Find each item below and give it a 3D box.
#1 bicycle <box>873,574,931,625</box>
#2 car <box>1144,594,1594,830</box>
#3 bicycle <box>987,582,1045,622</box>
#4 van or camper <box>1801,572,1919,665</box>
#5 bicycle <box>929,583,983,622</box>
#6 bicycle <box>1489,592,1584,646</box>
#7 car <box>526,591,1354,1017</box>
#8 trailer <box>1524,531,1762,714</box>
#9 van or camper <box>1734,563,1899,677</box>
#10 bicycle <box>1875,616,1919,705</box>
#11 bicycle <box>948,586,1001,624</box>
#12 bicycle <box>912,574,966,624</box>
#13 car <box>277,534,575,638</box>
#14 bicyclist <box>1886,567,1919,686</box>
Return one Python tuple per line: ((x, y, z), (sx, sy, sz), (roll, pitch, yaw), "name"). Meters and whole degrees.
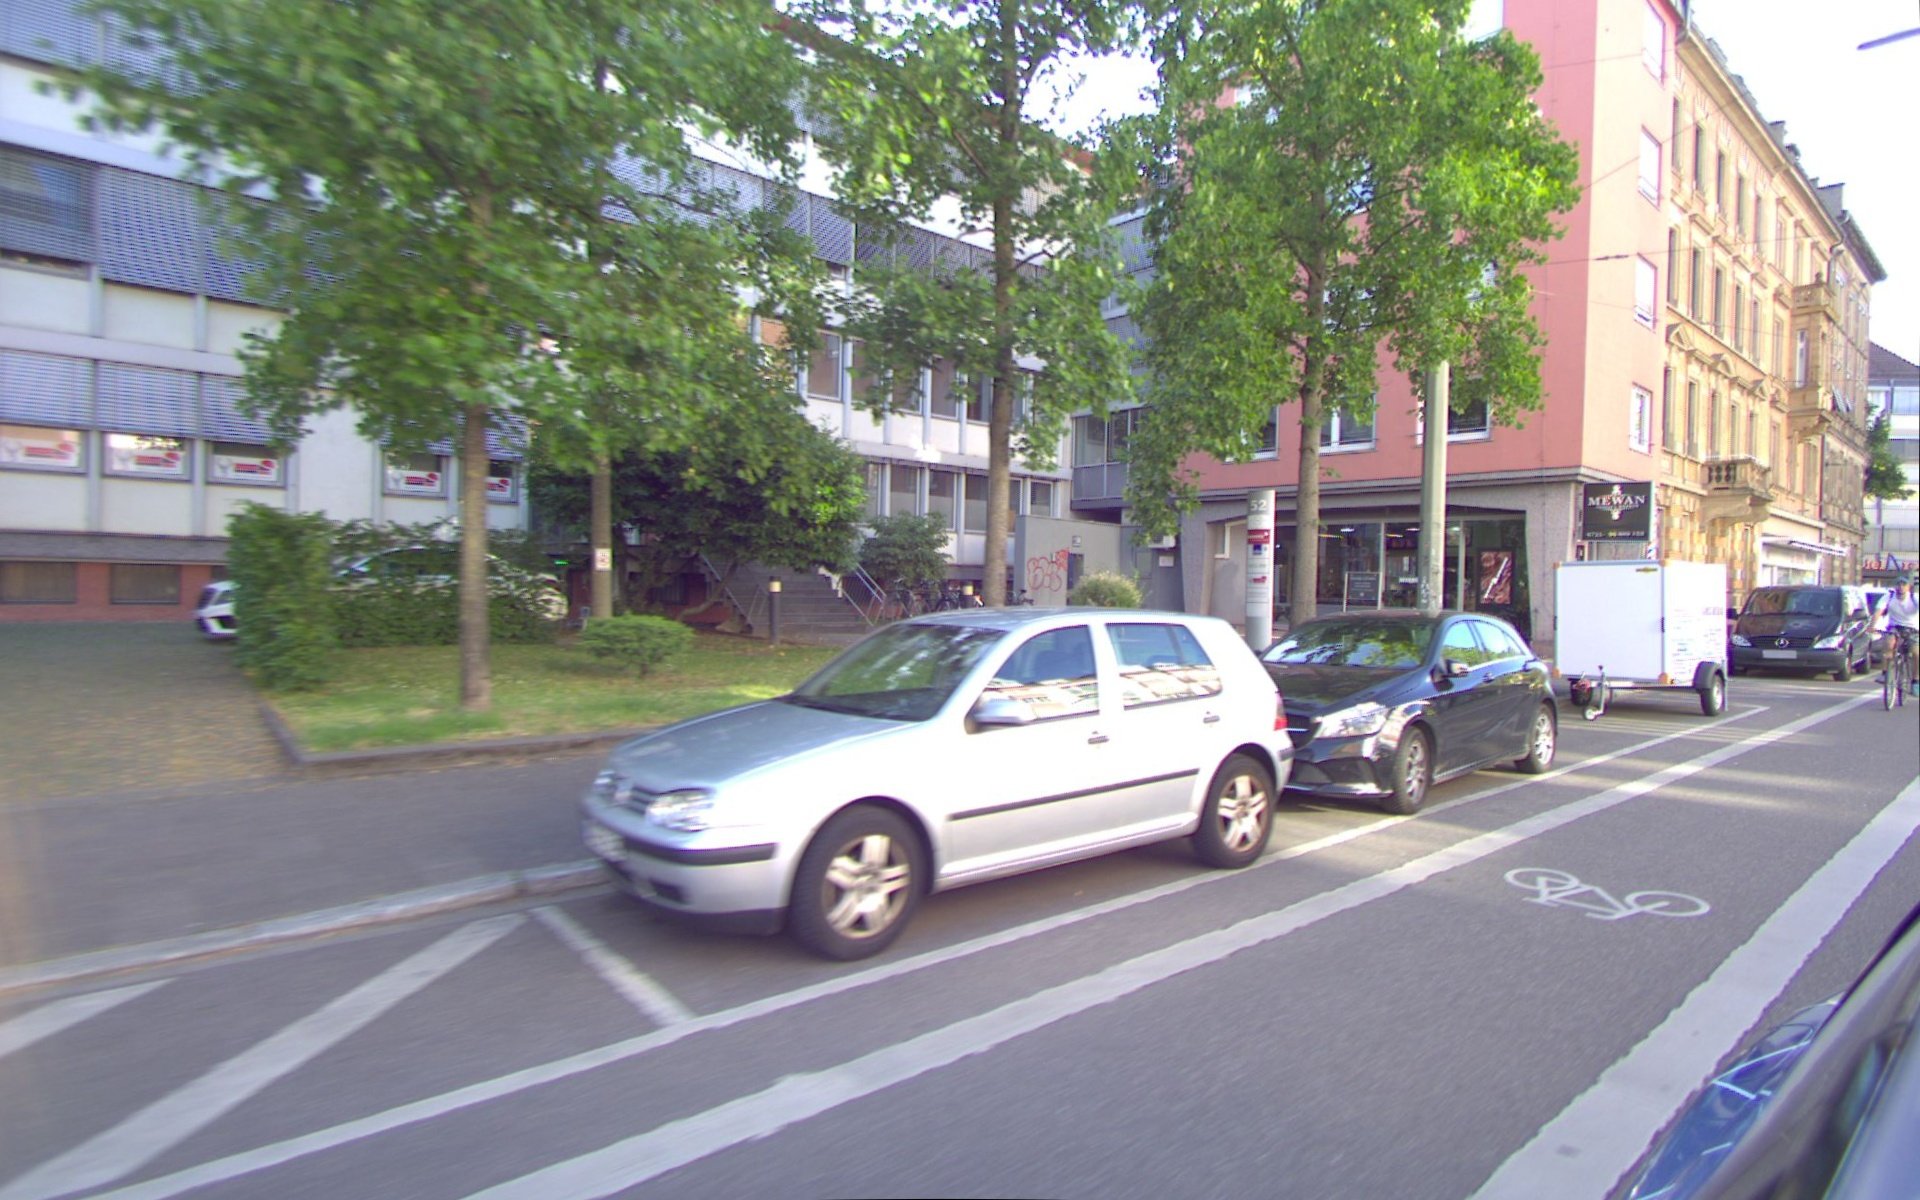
((-1.420, -0.019, 24.572), (1.584, 1.128, 0.442), (4, 3, 44), "bicycle")
((3.567, 0.704, 8.419), (4.250, 1.453, 1.804), (0, -1, -42), "car")
((1.515, 0.034, 27.391), (1.581, 0.974, 0.443), (4, 3, 40), "bicycle")
((22.392, 0.375, 24.802), (5.381, 2.062, 1.934), (-1, 0, -42), "van or camper")
((-0.115, 0.061, 25.685), (0.441, 0.886, 1.588), (1, 3, -38), "bicycle")
((13.088, 0.422, 22.988), (1.846, 1.147, 0.427), (2, 1, 1), "bicycle")
((0.112, 0.705, 5.461), (4.233, 1.461, 1.755), (0, 0, -36), "car")
((9.343, 0.260, 13.749), (3.774, 2.144, 1.664), (0, 0, -40), "trailer")
((17.864, 0.367, 21.007), (5.240, 2.072, 1.973), (0, -1, -43), "van or camper")
((13.622, 0.839, 14.443), (2.060, 1.153, 0.648), (0, 1, -43), "bicycle")
((0.360, 0.116, 25.979), (0.441, 0.886, 1.588), (1, 3, -38), "bicycle")
((-0.527, -0.034, 25.160), (0.441, 1.139, 1.588), (1, 3, -38), "bicycle")
((-8.578, -0.239, 16.482), (1.789, 1.482, 3.939), (2, 2, 42), "car")
((13.793, 0.369, 14.558), (0.655, 1.676, 0.912), (1, 0, 45), "bicyclist")
